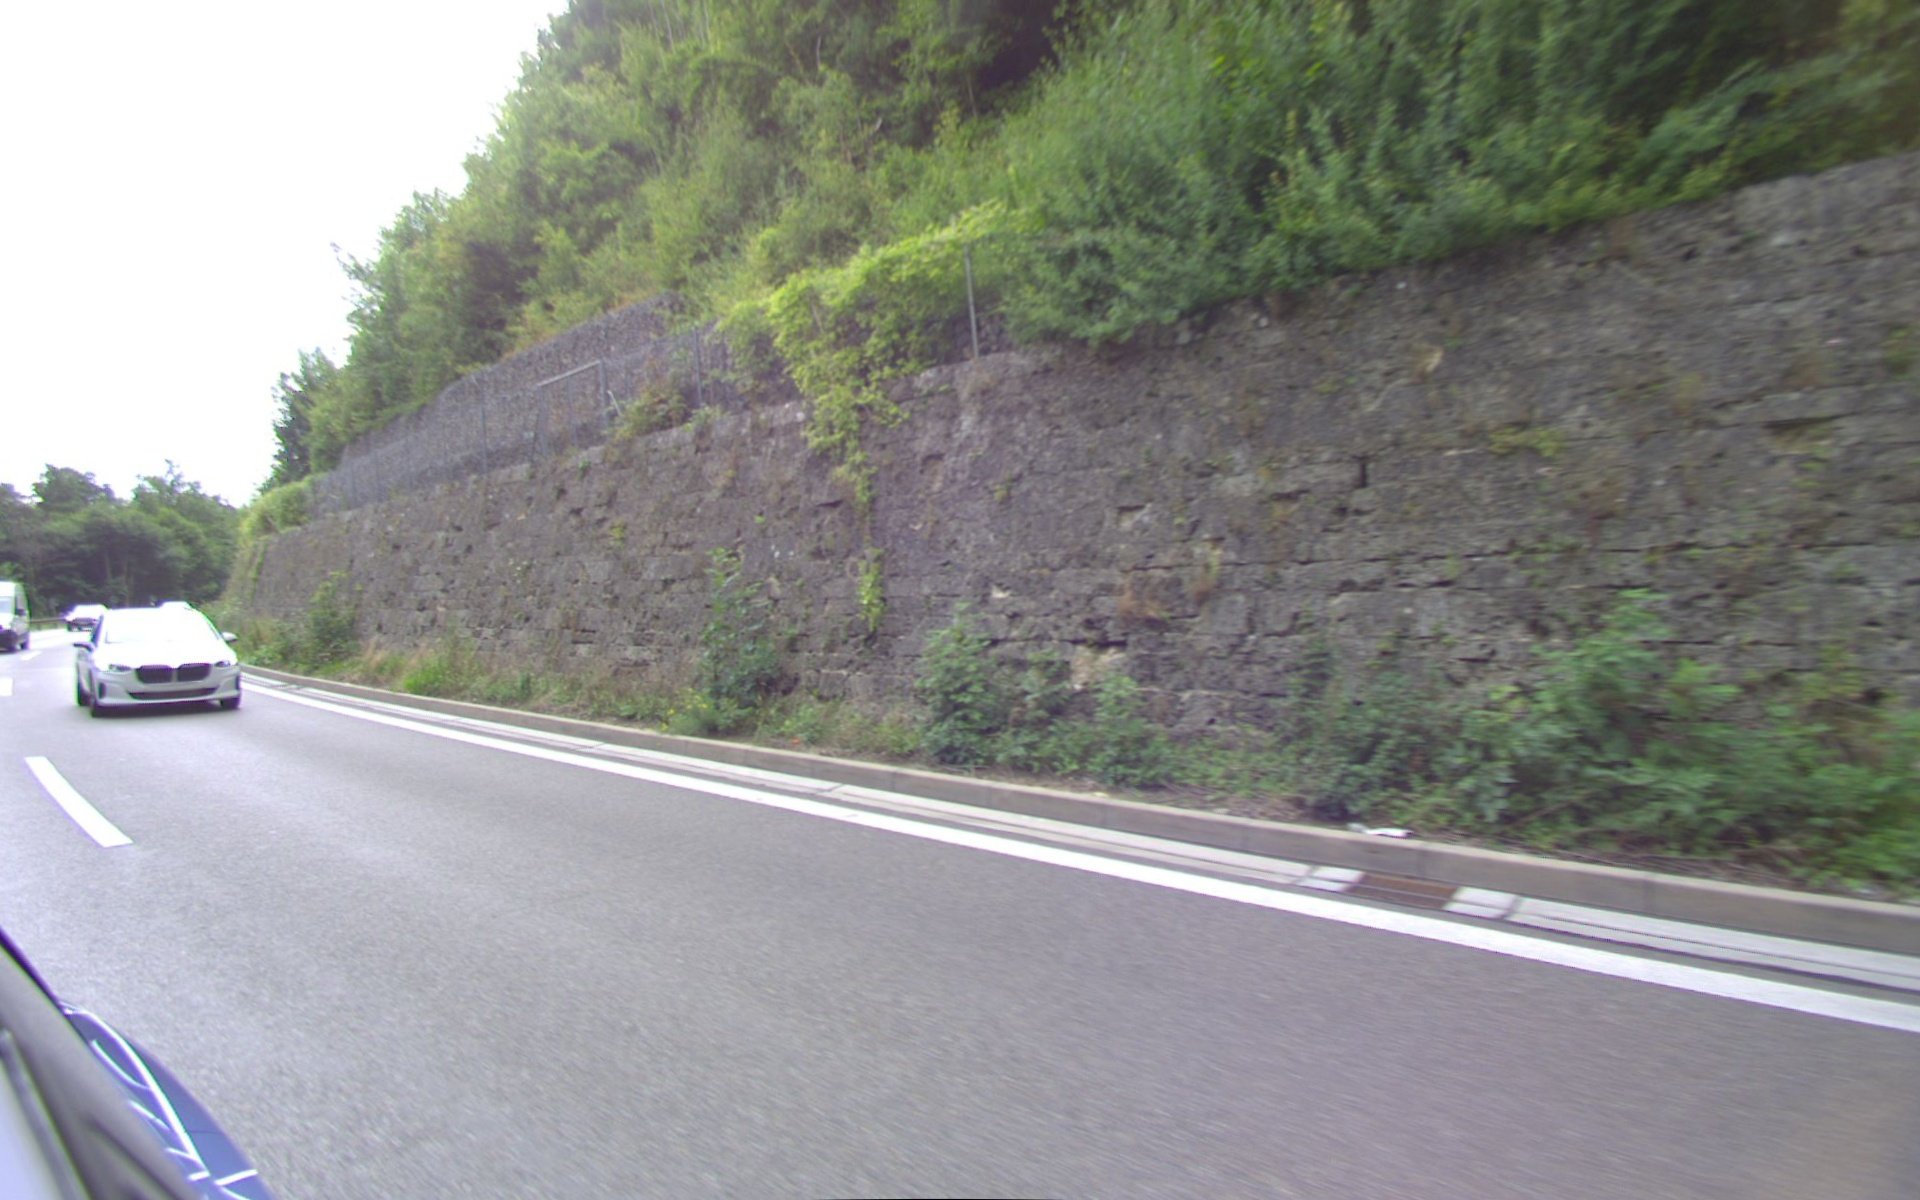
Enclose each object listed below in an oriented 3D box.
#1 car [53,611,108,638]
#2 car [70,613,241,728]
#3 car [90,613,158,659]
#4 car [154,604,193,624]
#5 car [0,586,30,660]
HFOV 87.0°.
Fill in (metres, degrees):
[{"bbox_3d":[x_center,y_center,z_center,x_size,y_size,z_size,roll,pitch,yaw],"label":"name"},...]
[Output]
[{"bbox_3d":[-53.489,1.494,61.643,1.793,1.567,4.012,0,-1,-30],"label":"car"},{"bbox_3d":[-12.911,1.018,16.148,1.797,1.567,4.003,0,-1,-44],"label":"car"},{"bbox_3d":[-30.747,1.272,37.189,1.796,1.567,4.005,0,-1,-42],"label":"car"},{"bbox_3d":[-65.410,1.155,84.172,1.793,1.567,4.013,-1,-1,-27],"label":"car"},{"bbox_3d":[-35.778,0.847,37.140,2.067,2.582,5.930,0,-1,-39],"label":"car"}]
